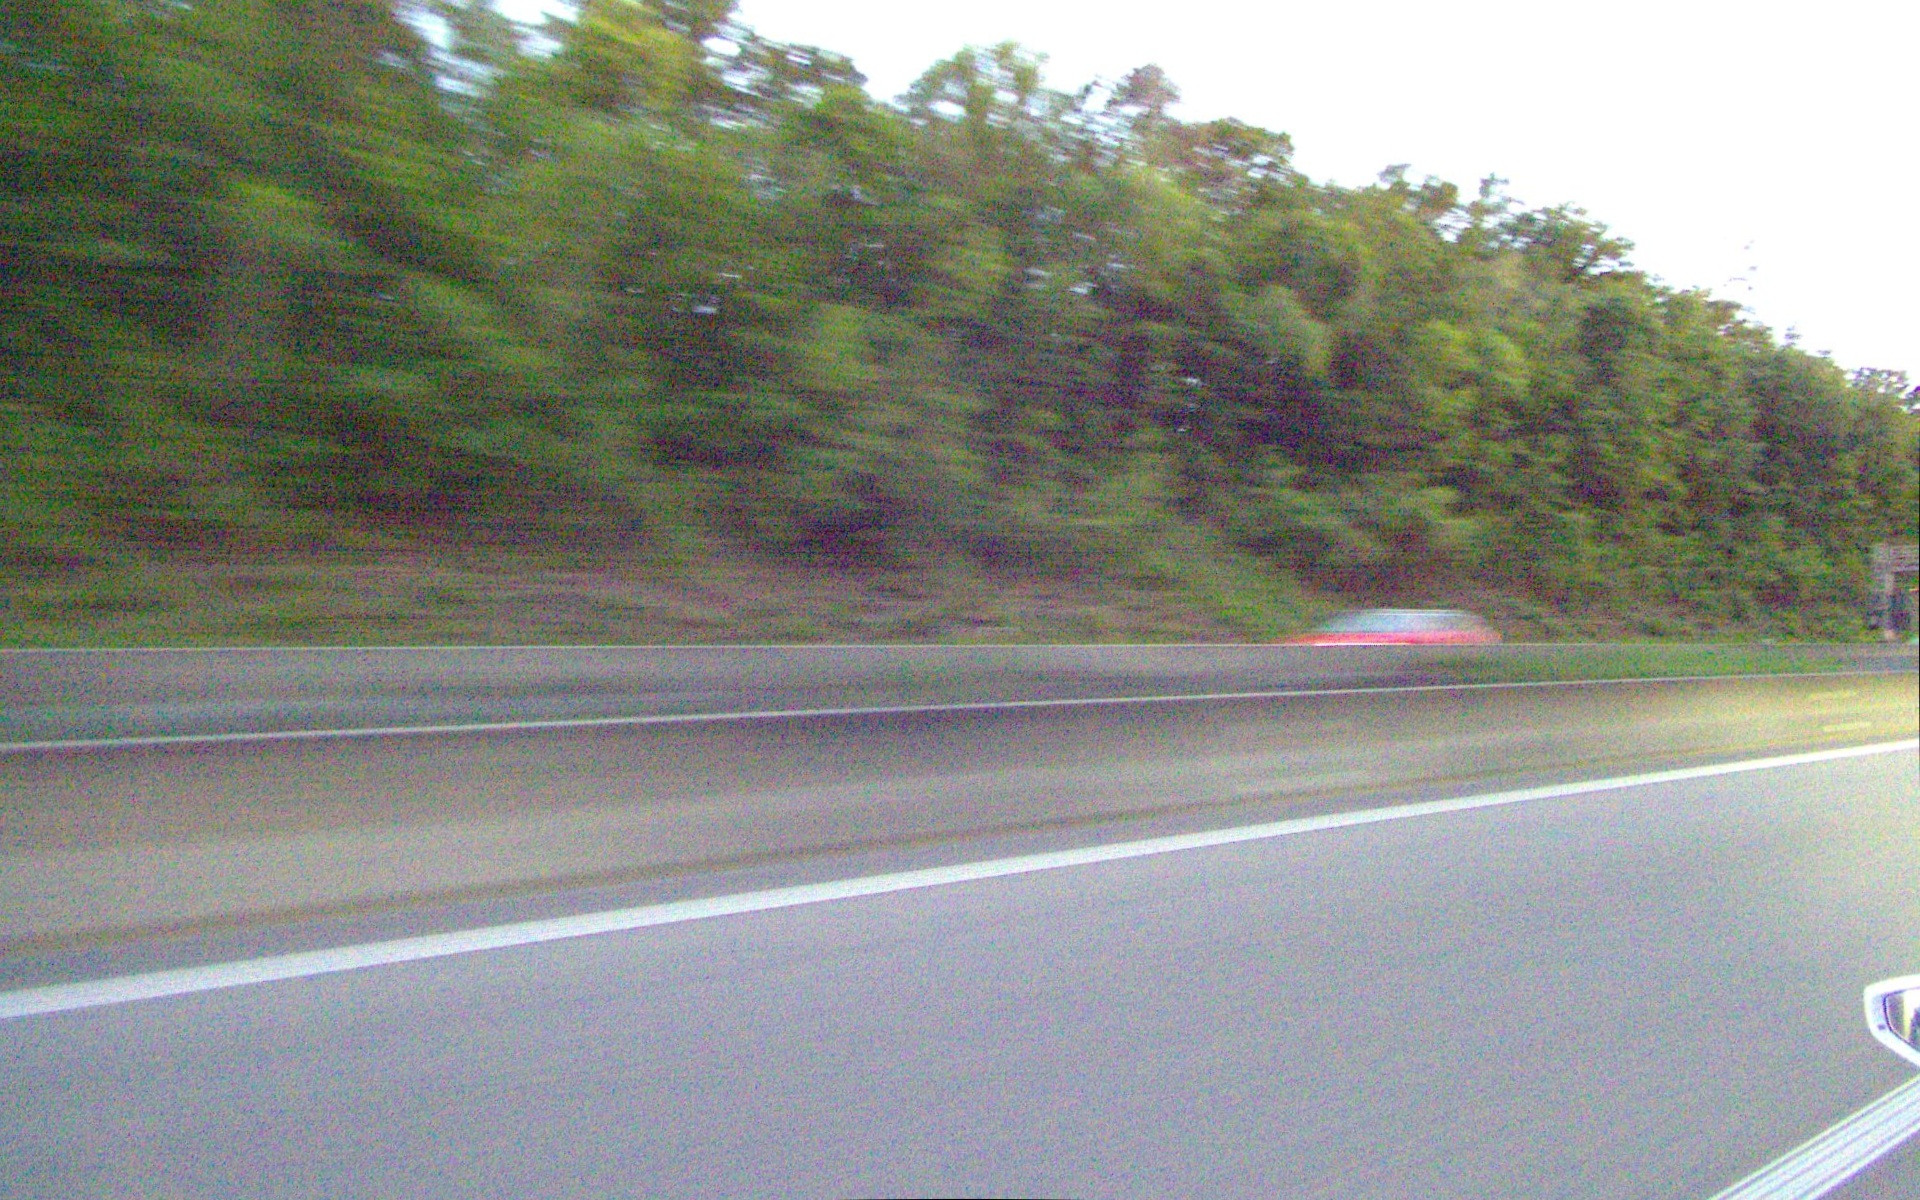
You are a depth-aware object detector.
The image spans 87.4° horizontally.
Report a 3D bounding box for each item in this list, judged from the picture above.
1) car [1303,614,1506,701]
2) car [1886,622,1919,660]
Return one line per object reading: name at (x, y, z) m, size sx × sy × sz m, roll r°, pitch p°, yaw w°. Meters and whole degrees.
car at (9.889, 1.225, 22.242) m, size 4.660 × 1.737 × 1.727 m, roll 1°, pitch -1°, yaw -31°
car at (47.496, 2.009, 49.168) m, size 4.519 × 1.758 × 1.984 m, roll 2°, pitch -1°, yaw -30°
